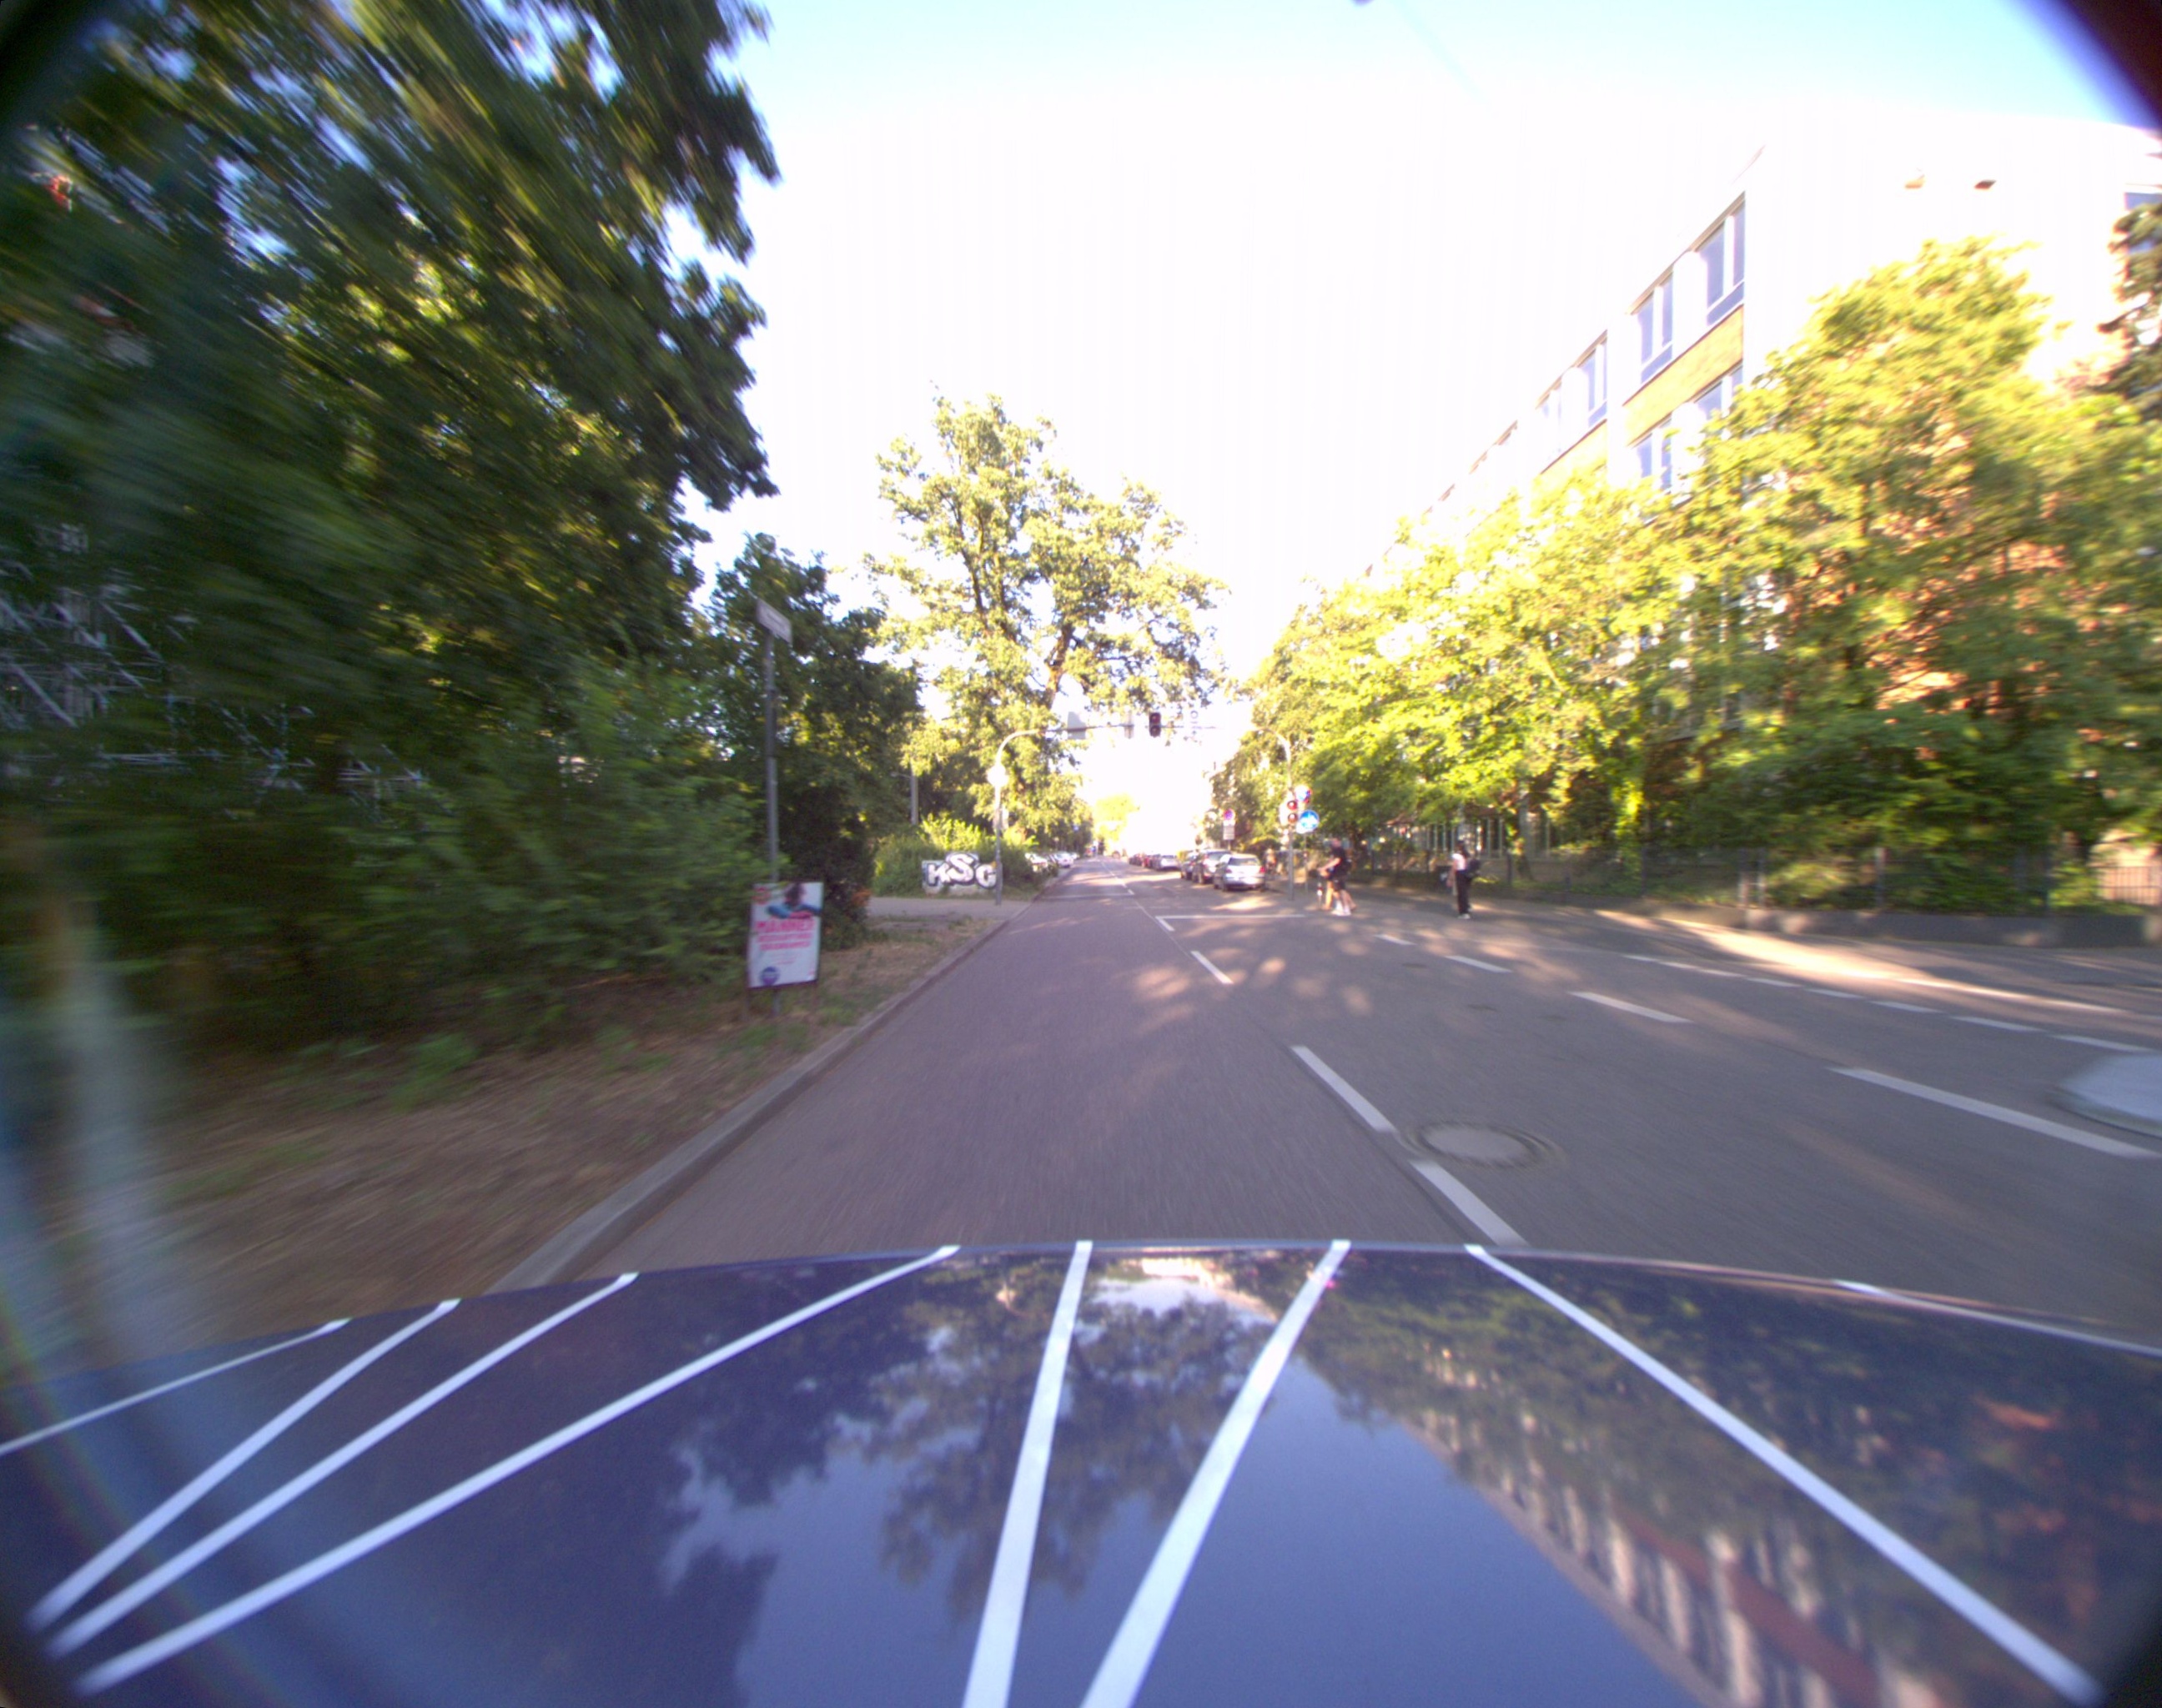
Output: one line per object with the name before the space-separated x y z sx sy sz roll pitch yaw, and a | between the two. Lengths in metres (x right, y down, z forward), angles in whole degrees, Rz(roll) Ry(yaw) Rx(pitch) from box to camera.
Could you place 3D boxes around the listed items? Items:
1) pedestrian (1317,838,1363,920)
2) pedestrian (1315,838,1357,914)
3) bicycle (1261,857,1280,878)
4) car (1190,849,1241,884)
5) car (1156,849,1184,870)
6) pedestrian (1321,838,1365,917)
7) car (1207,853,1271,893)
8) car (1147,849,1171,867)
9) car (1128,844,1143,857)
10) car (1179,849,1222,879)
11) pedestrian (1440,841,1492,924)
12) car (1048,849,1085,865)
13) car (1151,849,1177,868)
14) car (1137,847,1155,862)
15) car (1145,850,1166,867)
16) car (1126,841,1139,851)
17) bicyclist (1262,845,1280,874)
pedestrian | 5.981 0.573 17.553 0.784 1.825 0.672 -3 1 4
pedestrian | 6.345 0.543 18.938 0.784 1.825 0.672 -3 1 4
bicycle | 9.742 0.691 39.079 0.625 1.008 2.148 0 0 6
car | 6.450 0.580 36.900 1.776 1.559 4.108 -2 0 1
car | 7.030 0.446 60.554 1.776 1.559 4.108 -2 0 1
pedestrian | 6.273 0.553 18.222 0.784 1.825 0.672 -3 1 4
car | 6.308 0.709 30.771 1.776 1.474 4.108 -2 0 1
car | 7.164 0.375 69.903 1.776 1.559 4.108 -2 0 1
car | 7.248 -0.487 101.003 1.776 1.559 4.108 -2 0 1
car | 6.608 0.526 42.388 1.776 1.559 4.108 -2 0 1
pedestrian | 8.097 0.588 16.019 0.672 1.665 0.785 -3 1 4
car | -1.614 0.348 81.996 2.003 1.630 3.990 -3 1 -36
car | 7.139 0.393 65.381 1.776 1.559 4.108 -2 0 1
car | 7.299 0.076 85.602 1.776 1.559 4.108 -2 0 1
car | 7.403 0.425 75.688 1.776 1.559 4.108 -2 0 1
car | 8.256 -1.295 122.355 1.776 1.559 4.108 -2 0 1
bicyclist | 9.743 0.277 38.969 0.751 1.446 1.060 0 1 6
